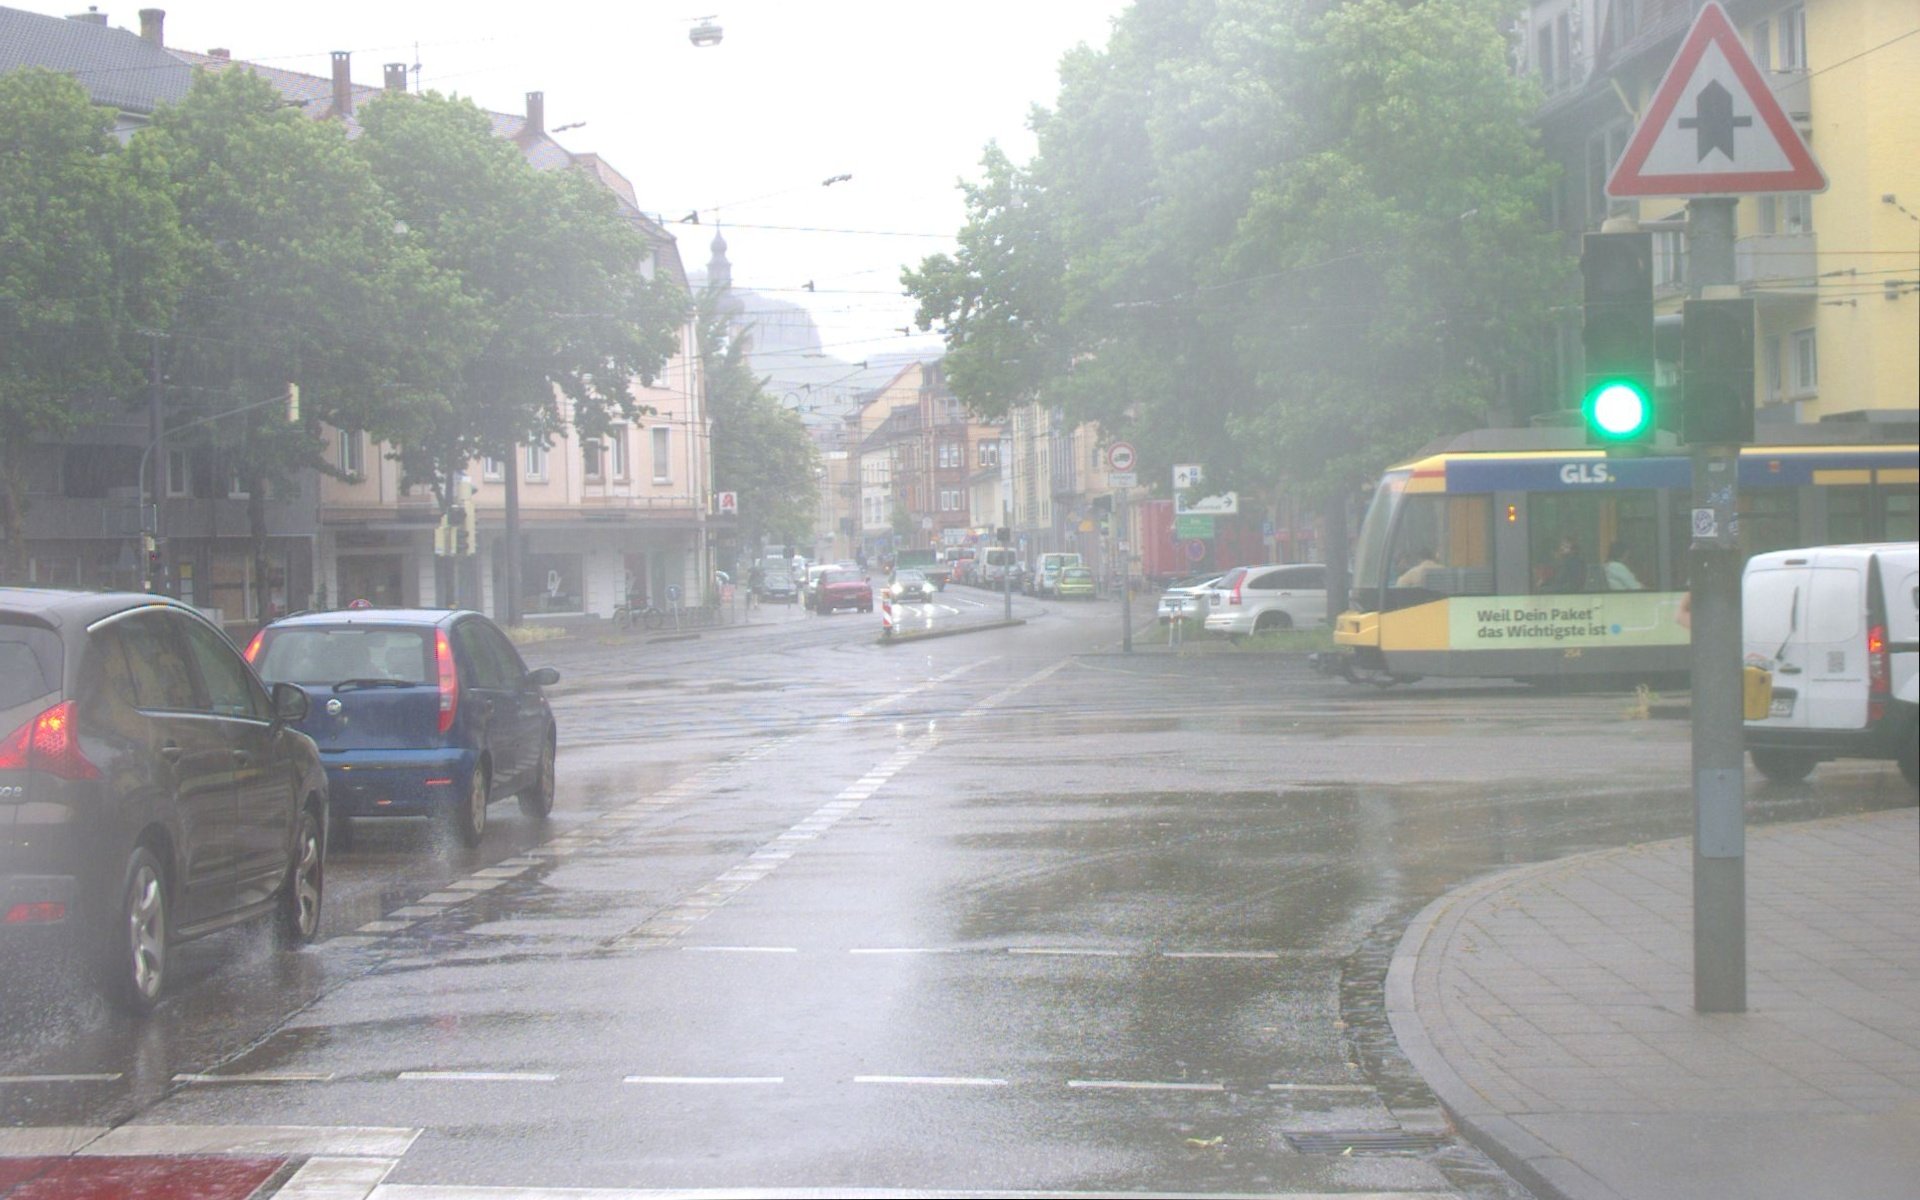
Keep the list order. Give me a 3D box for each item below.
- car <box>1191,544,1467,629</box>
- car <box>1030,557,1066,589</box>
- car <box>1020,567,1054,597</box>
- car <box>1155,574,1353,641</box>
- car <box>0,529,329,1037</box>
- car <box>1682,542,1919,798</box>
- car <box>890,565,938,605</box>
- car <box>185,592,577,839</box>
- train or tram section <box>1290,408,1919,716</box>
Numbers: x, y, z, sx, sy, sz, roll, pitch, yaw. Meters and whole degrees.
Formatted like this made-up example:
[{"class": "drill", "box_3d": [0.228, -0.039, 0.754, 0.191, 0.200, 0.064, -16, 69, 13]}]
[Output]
[{"class": "car", "box_3d": [7.194, -0.284, 67.247, 4.972, 1.469, 2.001, -2, 1, -9]}, {"class": "car", "box_3d": [3.950, -1.194, 154.229, 1.475, 1.358, 3.462, 1, 0, 0]}, {"class": "car", "box_3d": [3.590, -0.844, 160.789, 1.475, 1.358, 3.462, 1, 0, 0]}, {"class": "car", "box_3d": [7.451, 0.197, 87.210, 4.585, 1.551, 1.998, -1, 1, 22]}, {"class": "car", "box_3d": [-3.785, 0.574, 13.614, 1.801, 1.703, 4.191, 0, 1, 0]}, {"class": "car", "box_3d": [7.714, 0.461, 26.167, 4.099, 1.791, 1.910, -1, 1, -29]}, {"class": "car", "box_3d": [-2.042, -0.637, 151.535, 1.993, 1.683, 4.000, 1, 0, -2]}, {"class": "car", "box_3d": [-3.634, 0.747, 22.228, 1.882, 1.454, 3.831, 0, -2, 0]}, {"class": "train or tram section", "box_3d": [11.725, -0.618, 43.983, 14.528, 3.546, 3.117, -2, 1, -4]}]
